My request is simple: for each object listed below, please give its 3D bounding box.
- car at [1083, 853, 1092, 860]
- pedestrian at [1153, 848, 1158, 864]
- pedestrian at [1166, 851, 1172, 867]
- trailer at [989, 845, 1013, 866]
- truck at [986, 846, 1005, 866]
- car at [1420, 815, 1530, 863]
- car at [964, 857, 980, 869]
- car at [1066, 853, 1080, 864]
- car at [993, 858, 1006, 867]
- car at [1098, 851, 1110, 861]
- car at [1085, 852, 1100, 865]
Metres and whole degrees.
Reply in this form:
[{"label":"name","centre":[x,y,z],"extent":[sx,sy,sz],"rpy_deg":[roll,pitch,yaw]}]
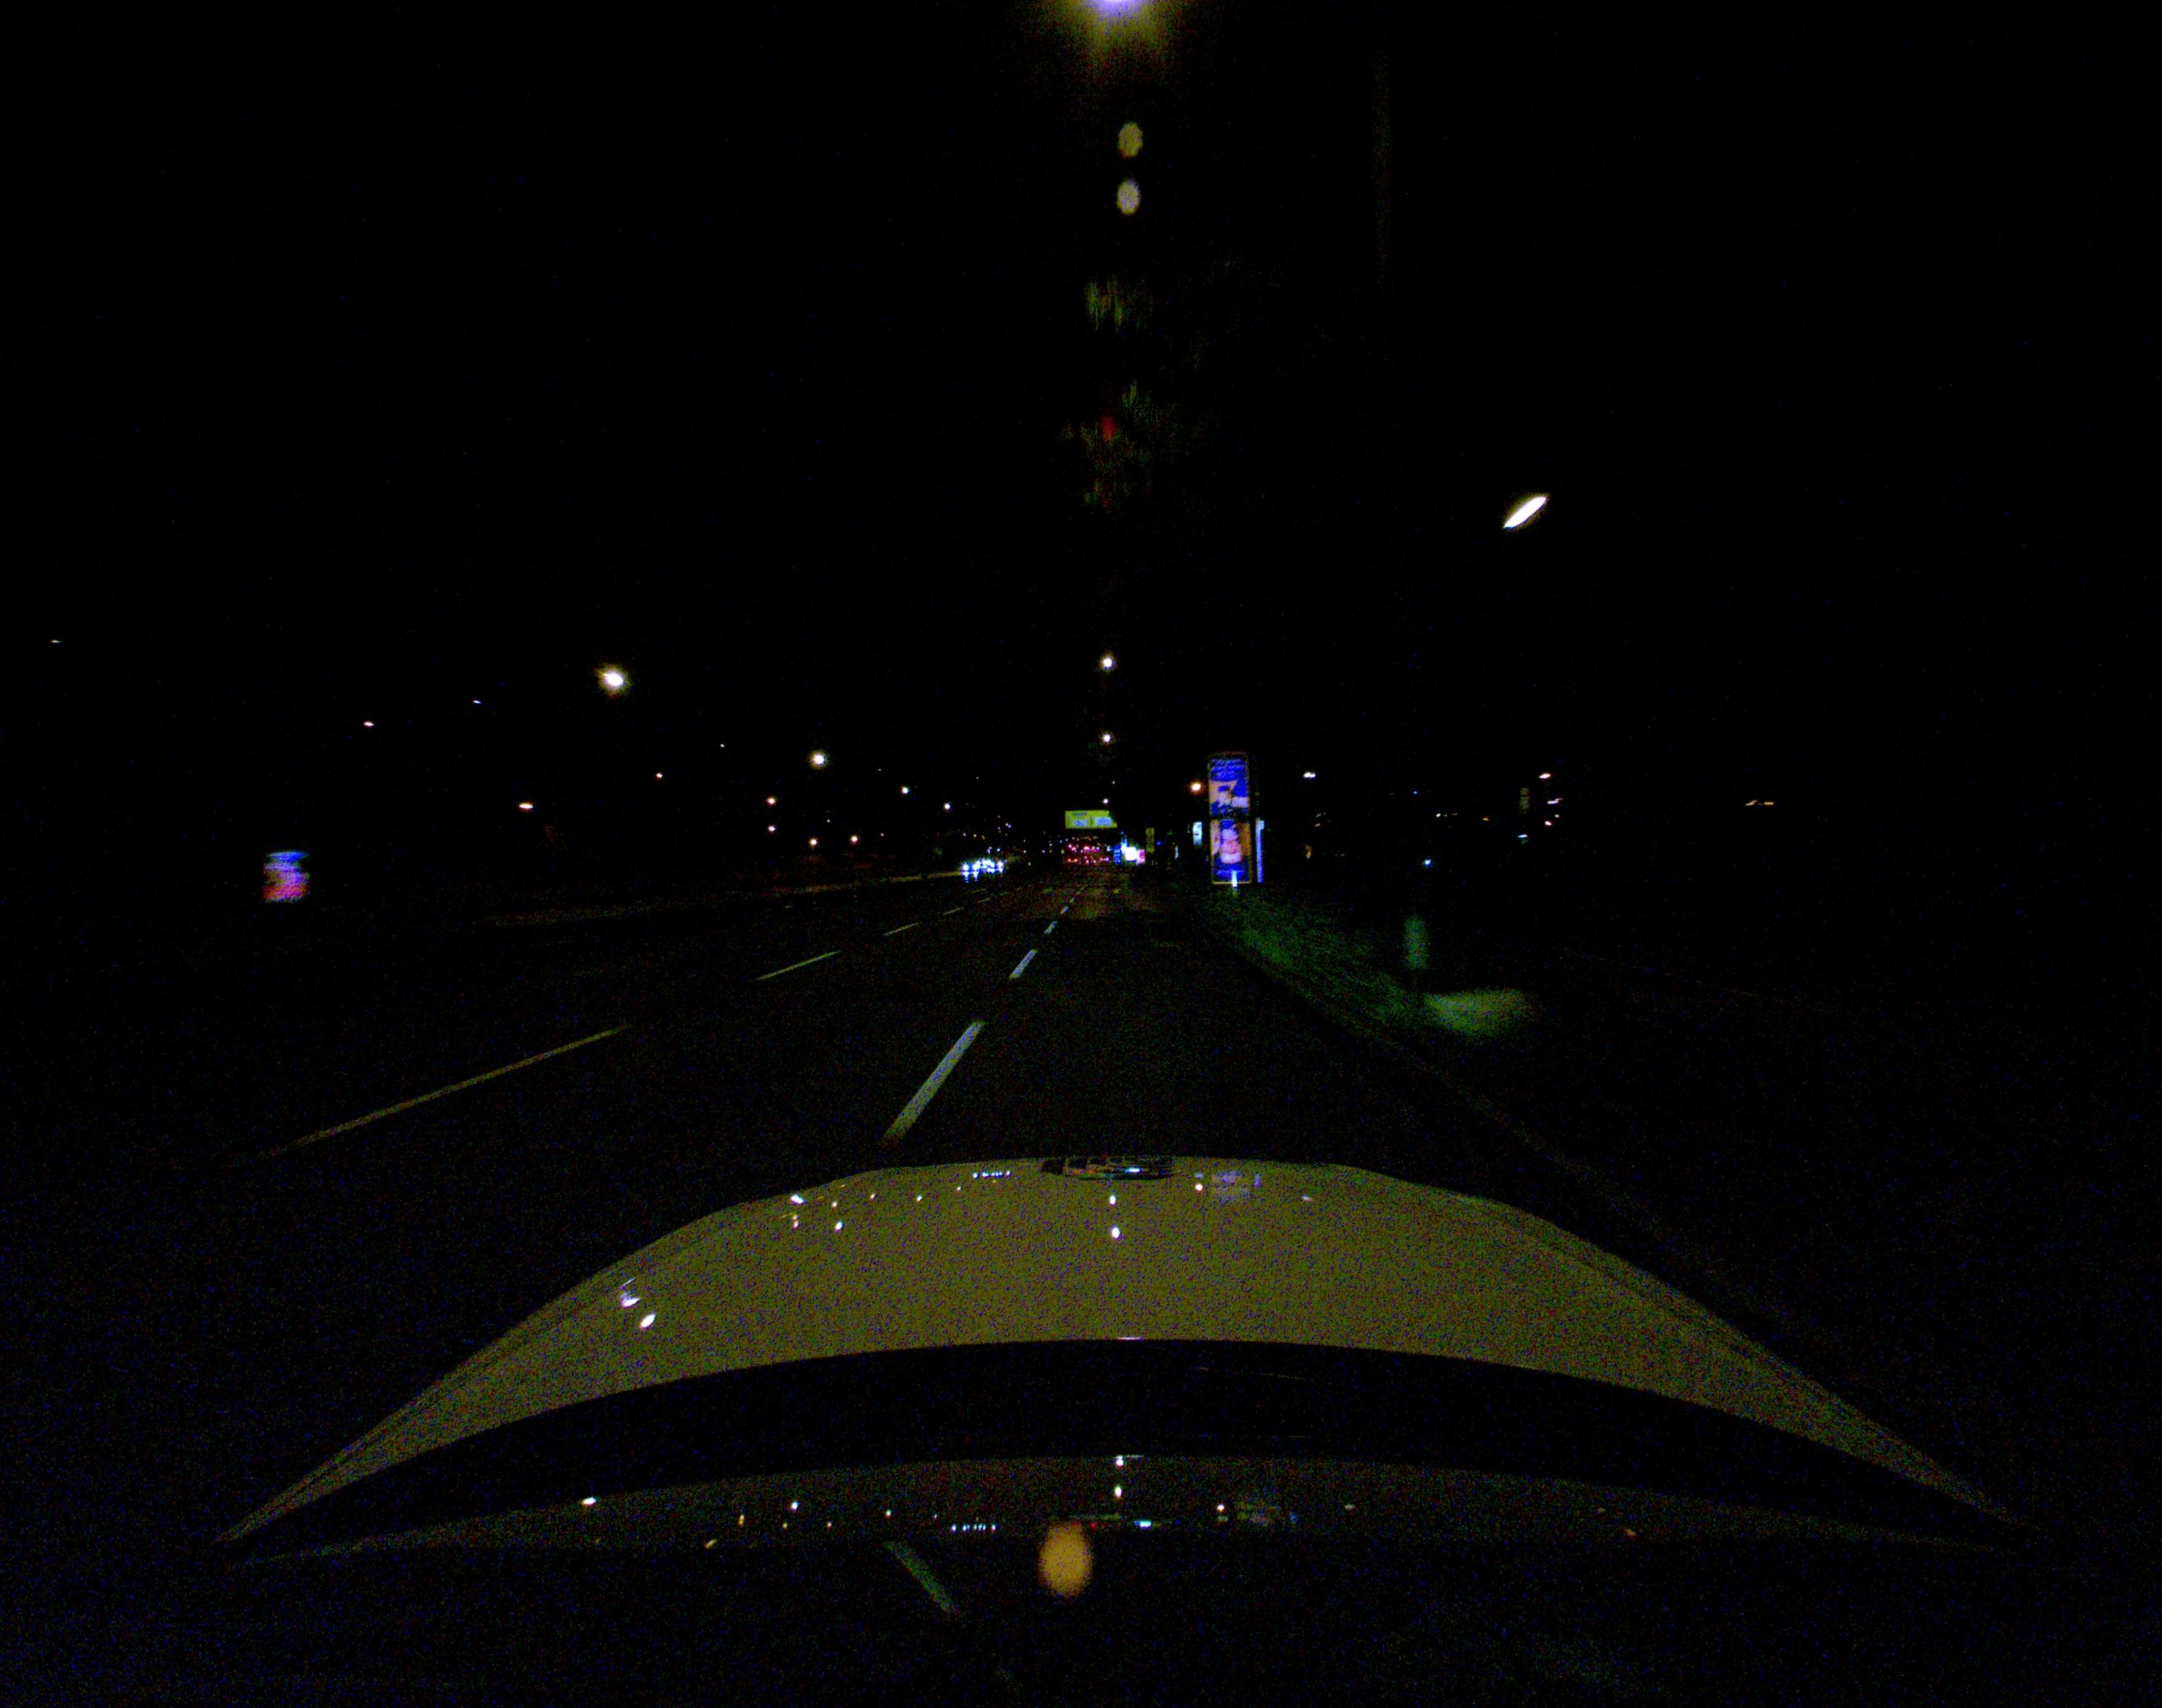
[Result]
[{"label":"car","centre":[1.577,0.482,190.937],"extent":[1.986,1.553,4.001],"rpy_deg":[-1,0,2]},{"label":"pedestrian","centre":[11.246,0.349,122.255],"extent":[0.741,2.435,0.780],"rpy_deg":[0,0,4]},{"label":"pedestrian","centre":[11.264,0.618,104.459],"extent":[0.759,2.063,0.644],"rpy_deg":[-1,0,1]},{"label":"trailer","centre":[-16.543,0.223,169.964],"extent":[2.982,4.000,13.962],"rpy_deg":[-1,1,2]},{"label":"truck","centre":[-16.792,0.414,160.956],"extent":[3.029,3.819,4.937],"rpy_deg":[-1,0,2]},{"label":"car","centre":[15.967,-0.622,33.003],"extent":[3.779,1.862,1.985],"rpy_deg":[-1,1,-22]},{"label":"car","centre":[-16.785,1.313,125.660],"extent":[1.857,1.750,3.702],"rpy_deg":[-1,1,1]},{"label":"car","centre":[-1.553,0.936,157.576],"extent":[2.252,2.013,4.832],"rpy_deg":[-1,1,5]},{"label":"car","centre":[-14.888,1.516,148.357],"extent":[1.904,1.473,3.772],"rpy_deg":[-1,1,1]},{"label":"car","centre":[5.133,0.472,181.301],"extent":[2.416,2.113,4.832],"rpy_deg":[-1,1,5]},{"label":"car","centre":[2.181,0.818,151.468],"extent":[2.345,2.129,4.832],"rpy_deg":[-1,1,5]}]
